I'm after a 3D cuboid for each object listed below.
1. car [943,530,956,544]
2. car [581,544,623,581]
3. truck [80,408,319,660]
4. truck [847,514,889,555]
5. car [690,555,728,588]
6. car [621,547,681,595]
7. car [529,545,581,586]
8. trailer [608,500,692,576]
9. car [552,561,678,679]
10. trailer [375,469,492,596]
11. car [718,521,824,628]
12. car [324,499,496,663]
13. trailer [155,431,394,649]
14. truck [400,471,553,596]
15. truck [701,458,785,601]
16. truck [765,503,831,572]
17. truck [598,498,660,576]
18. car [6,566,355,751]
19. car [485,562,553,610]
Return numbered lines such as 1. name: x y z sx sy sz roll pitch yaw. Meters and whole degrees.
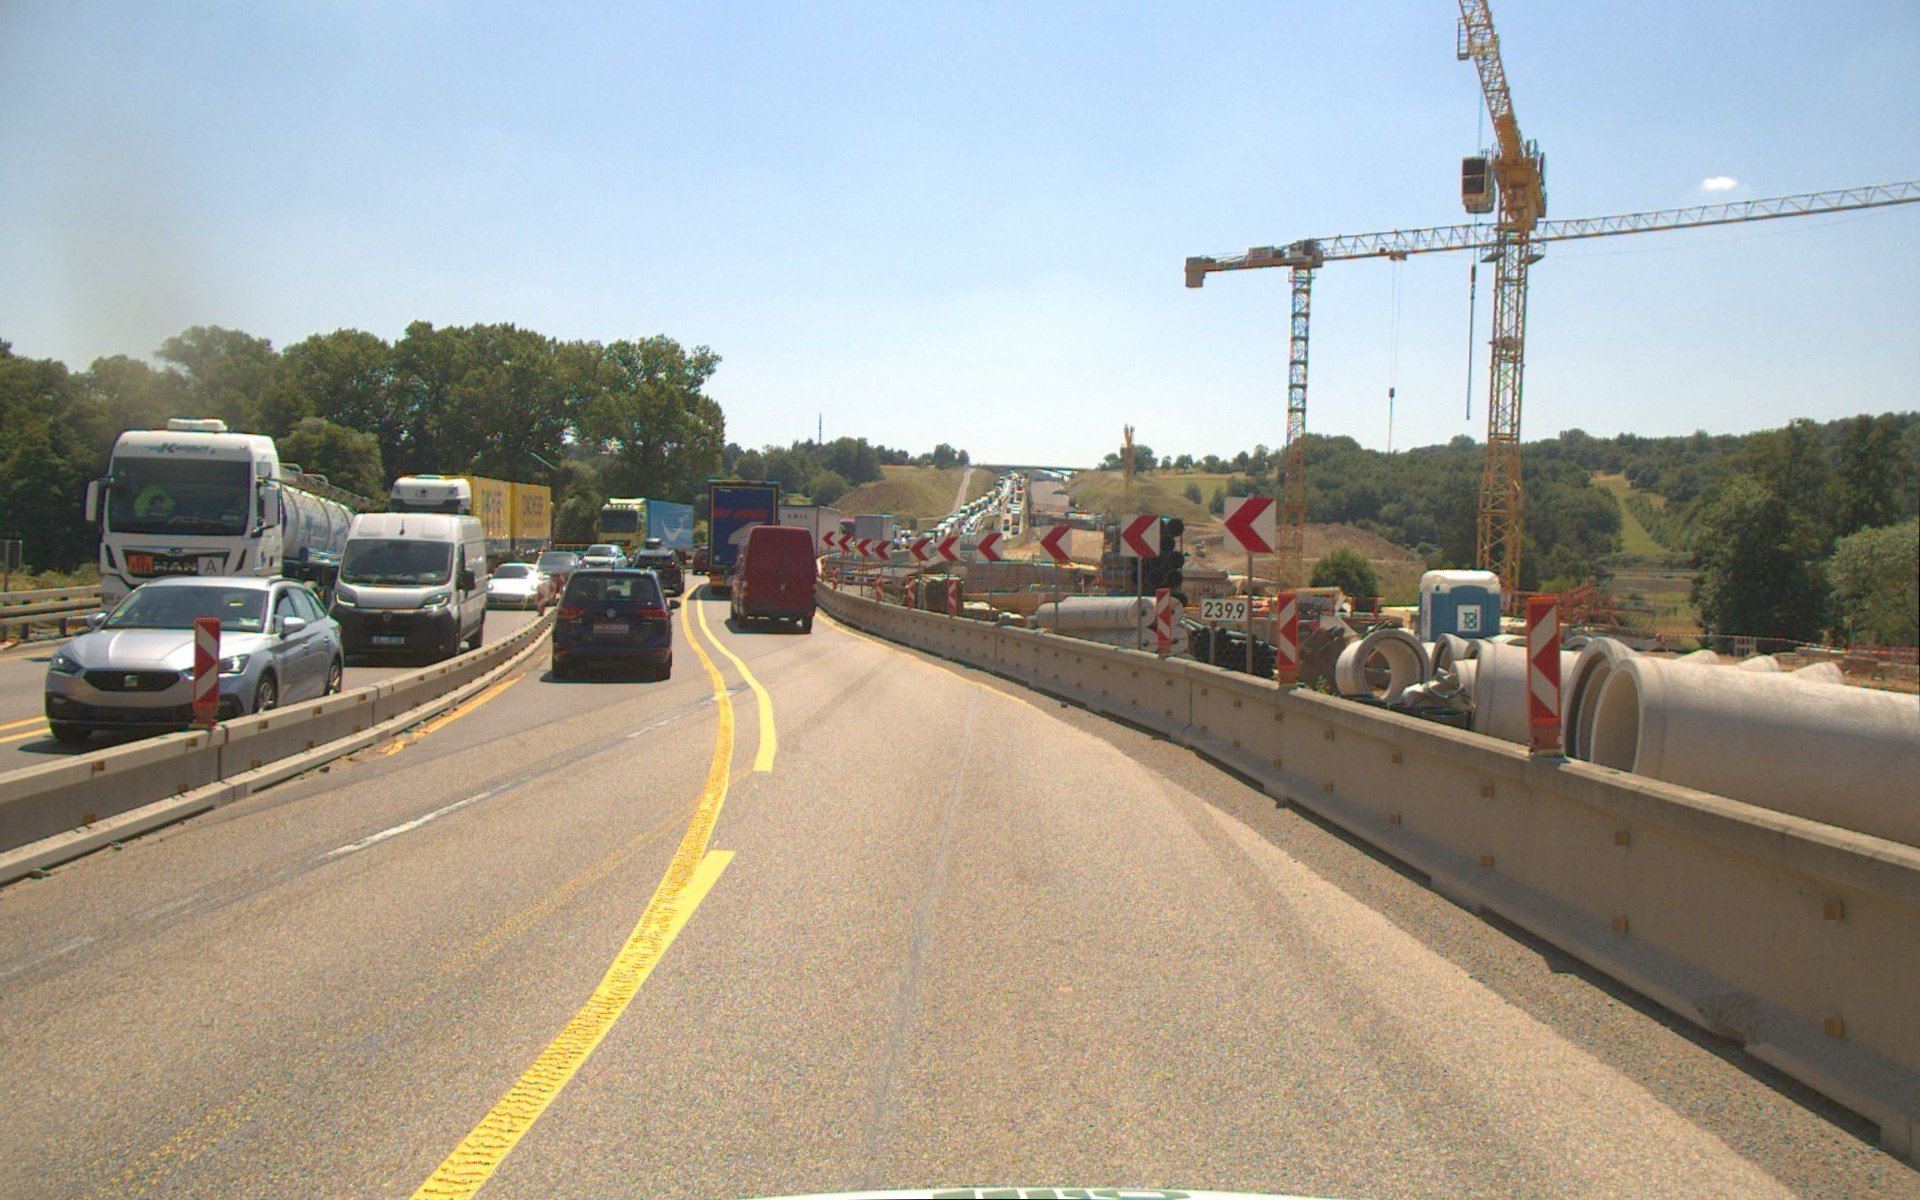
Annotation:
1. car: -1.405 -8.425 221.552 1.584 1.729 3.891 2 2 1
2. car: -16.337 -1.732 75.542 1.606 1.511 3.993 1 3 -9
3. truck: -13.012 -1.059 28.720 2.488 3.888 4.938 2 0 -11
4. truck: -8.360 -5.975 151.877 3.118 3.029 8.899 1 -2 1
5. car: -13.114 -1.480 86.500 1.799 1.664 4.100 1 1 -7
6. car: -11.287 -1.065 60.651 1.798 1.664 4.384 1 1 -6
7. car: -15.119 -1.319 61.863 1.647 1.385 4.491 2 2 -11
8. trailer: -19.376 -3.821 104.243 2.593 4.367 13.310 2 1 0
9. car: -5.344 0.249 26.059 1.702 1.664 4.380 1 1 -9
10. trailer: -18.765 -2.367 59.295 2.810 4.303 5.214 1 1 -5
11. car: -5.156 -0.702 44.383 2.113 2.656 5.419 1 1 -14
12. car: -9.591 -0.293 29.376 2.034 2.547 6.465 1 0 -11
13. trailer: -14.128 -1.132 35.013 2.480 3.855 10.219 2 0 -11
14. truck: -19.410 -2.598 67.580 2.752 4.417 15.363 2 1 -4
15. truck: -8.185 -2.637 62.734 2.889 5.031 6.732 1 2 -7
16. truck: -10.046 -3.875 103.121 3.116 4.058 6.744 1 2 2
17. truck: -19.442 -3.690 97.466 2.572 4.344 4.732 2 1 -1
18. car: -7.209 0.445 15.828 1.811 1.489 4.514 1 1 -9
19. car: -13.194 -0.447 49.641 1.647 1.286 4.325 2 2 -11
